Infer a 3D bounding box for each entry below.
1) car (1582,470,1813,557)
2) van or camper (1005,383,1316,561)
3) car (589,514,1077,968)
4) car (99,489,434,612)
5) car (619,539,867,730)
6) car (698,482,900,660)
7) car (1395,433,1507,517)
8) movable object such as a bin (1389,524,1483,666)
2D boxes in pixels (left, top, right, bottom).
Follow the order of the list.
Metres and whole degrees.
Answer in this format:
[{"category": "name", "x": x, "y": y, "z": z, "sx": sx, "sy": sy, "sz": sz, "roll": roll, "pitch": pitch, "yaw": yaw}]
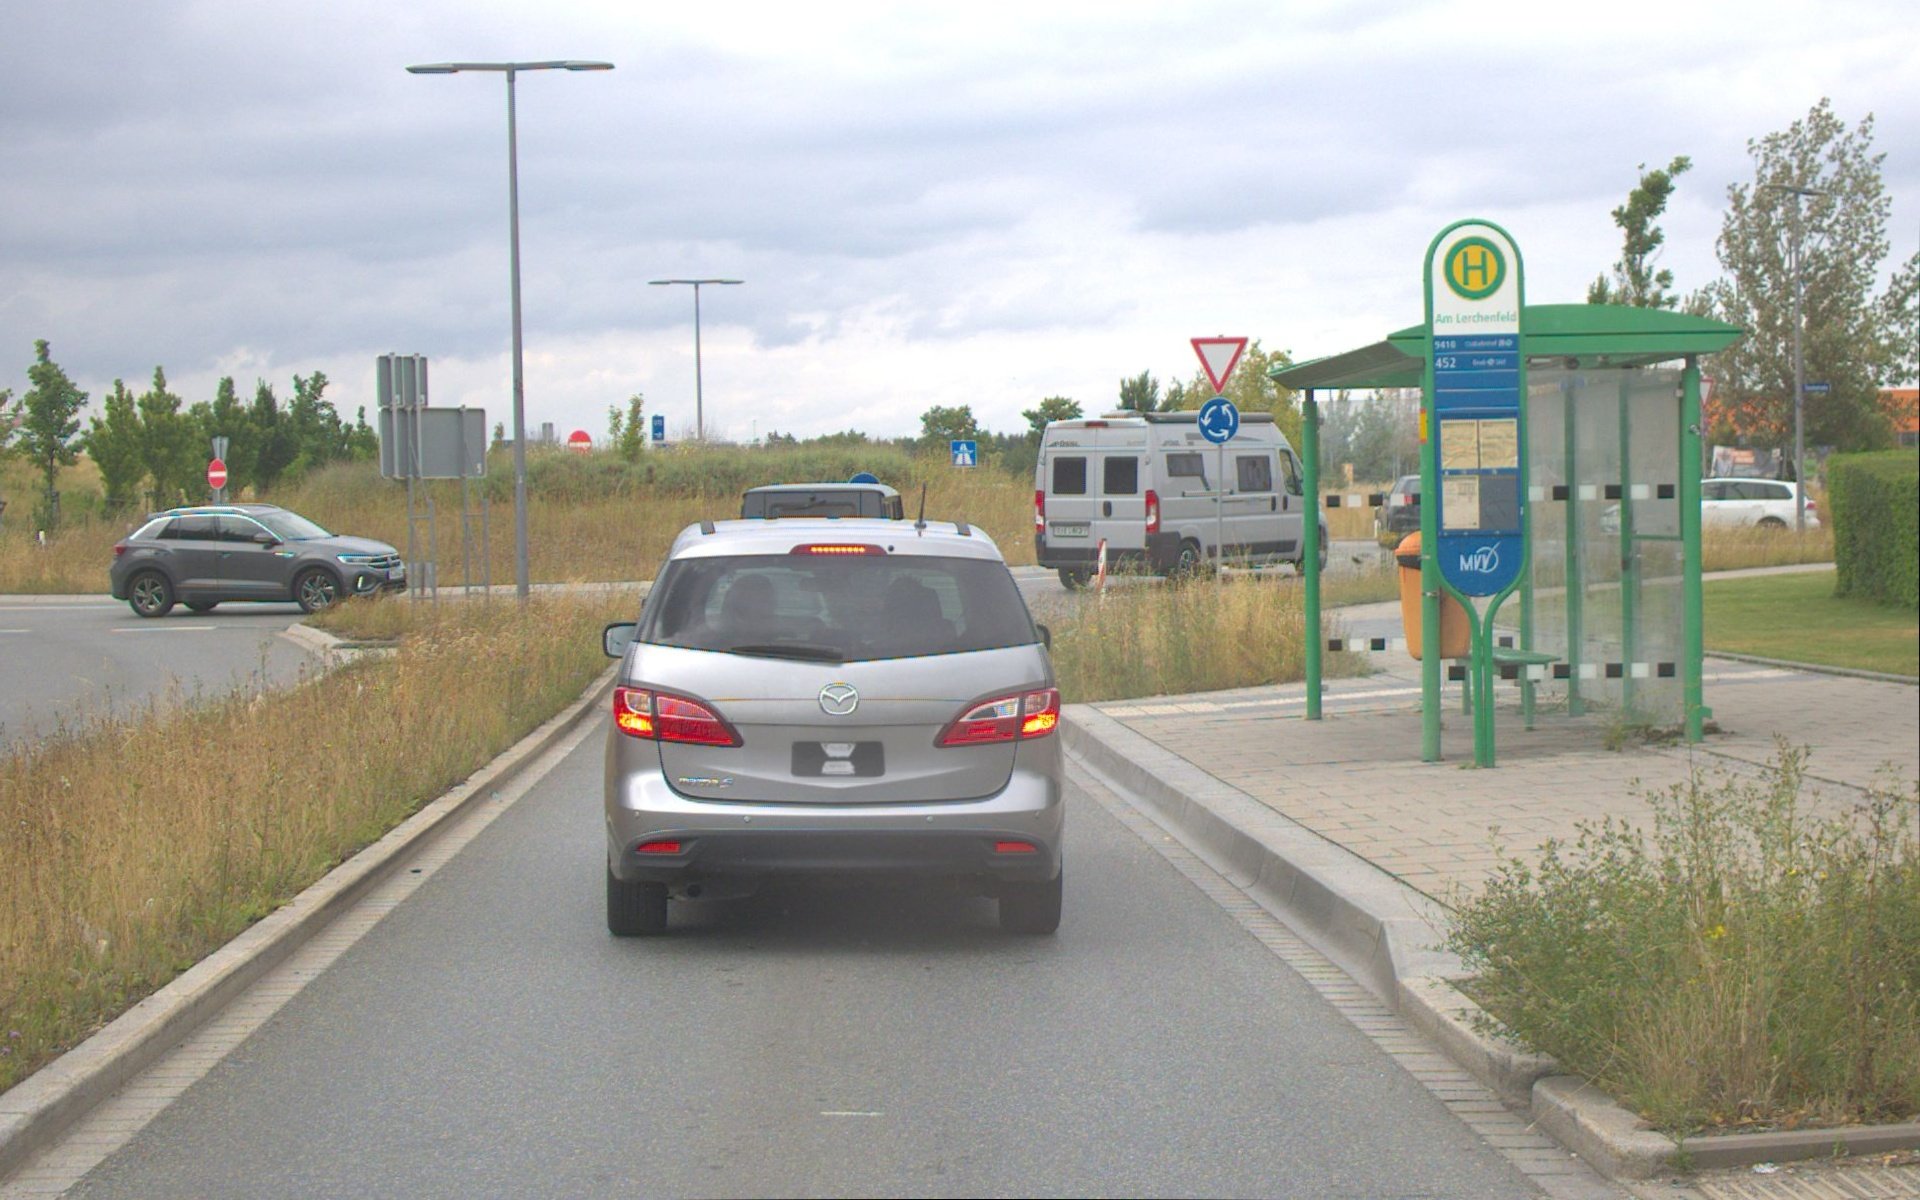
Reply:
[{"category": "car", "x": 15.439, "y": -1.817, "z": 72.162, "sx": 4.603, "sy": 1.751, "sz": 1.999, "roll": 0, "pitch": 1, "yaw": 8}, {"category": "van or camper", "x": 3.043, "y": -1.869, "z": 50.896, "sx": 2.307, "sy": 2.497, "sz": 5.196, "roll": 1, "pitch": 2, "yaw": 33}, {"category": "car", "x": -0.566, "y": 0.456, "z": 14.126, "sx": 1.729, "sy": 1.594, "sz": 3.808, "roll": 0, "pitch": 2, "yaw": -4}, {"category": "car", "x": -9.958, "y": -0.723, "z": 49.494, "sx": 4.192, "sy": 1.587, "sz": 2.064, "roll": -1, "pitch": 2, "yaw": 13}, {"category": "car", "x": -1.754, "y": 0.230, "z": 28.952, "sx": 1.844, "sy": 1.413, "sz": 4.225, "roll": -1, "pitch": 2, "yaw": -1}, {"category": "car", "x": -1.712, "y": -0.351, "z": 38.031, "sx": 2.058, "sy": 1.819, "sz": 4.786, "roll": -1, "pitch": 1, "yaw": -1}, {"category": "car", "x": 9.269, "y": -2.345, "z": 65.085, "sx": 1.994, "sy": 1.510, "sz": 3.999, "roll": -1, "pitch": 1, "yaw": 7}, {"category": "movable object such as a bin", "x": 2.692, "y": -0.032, "z": 19.458, "sx": 0.456, "sy": 0.795, "sz": 0.380, "roll": -1, "pitch": 1, "yaw": -3}]
